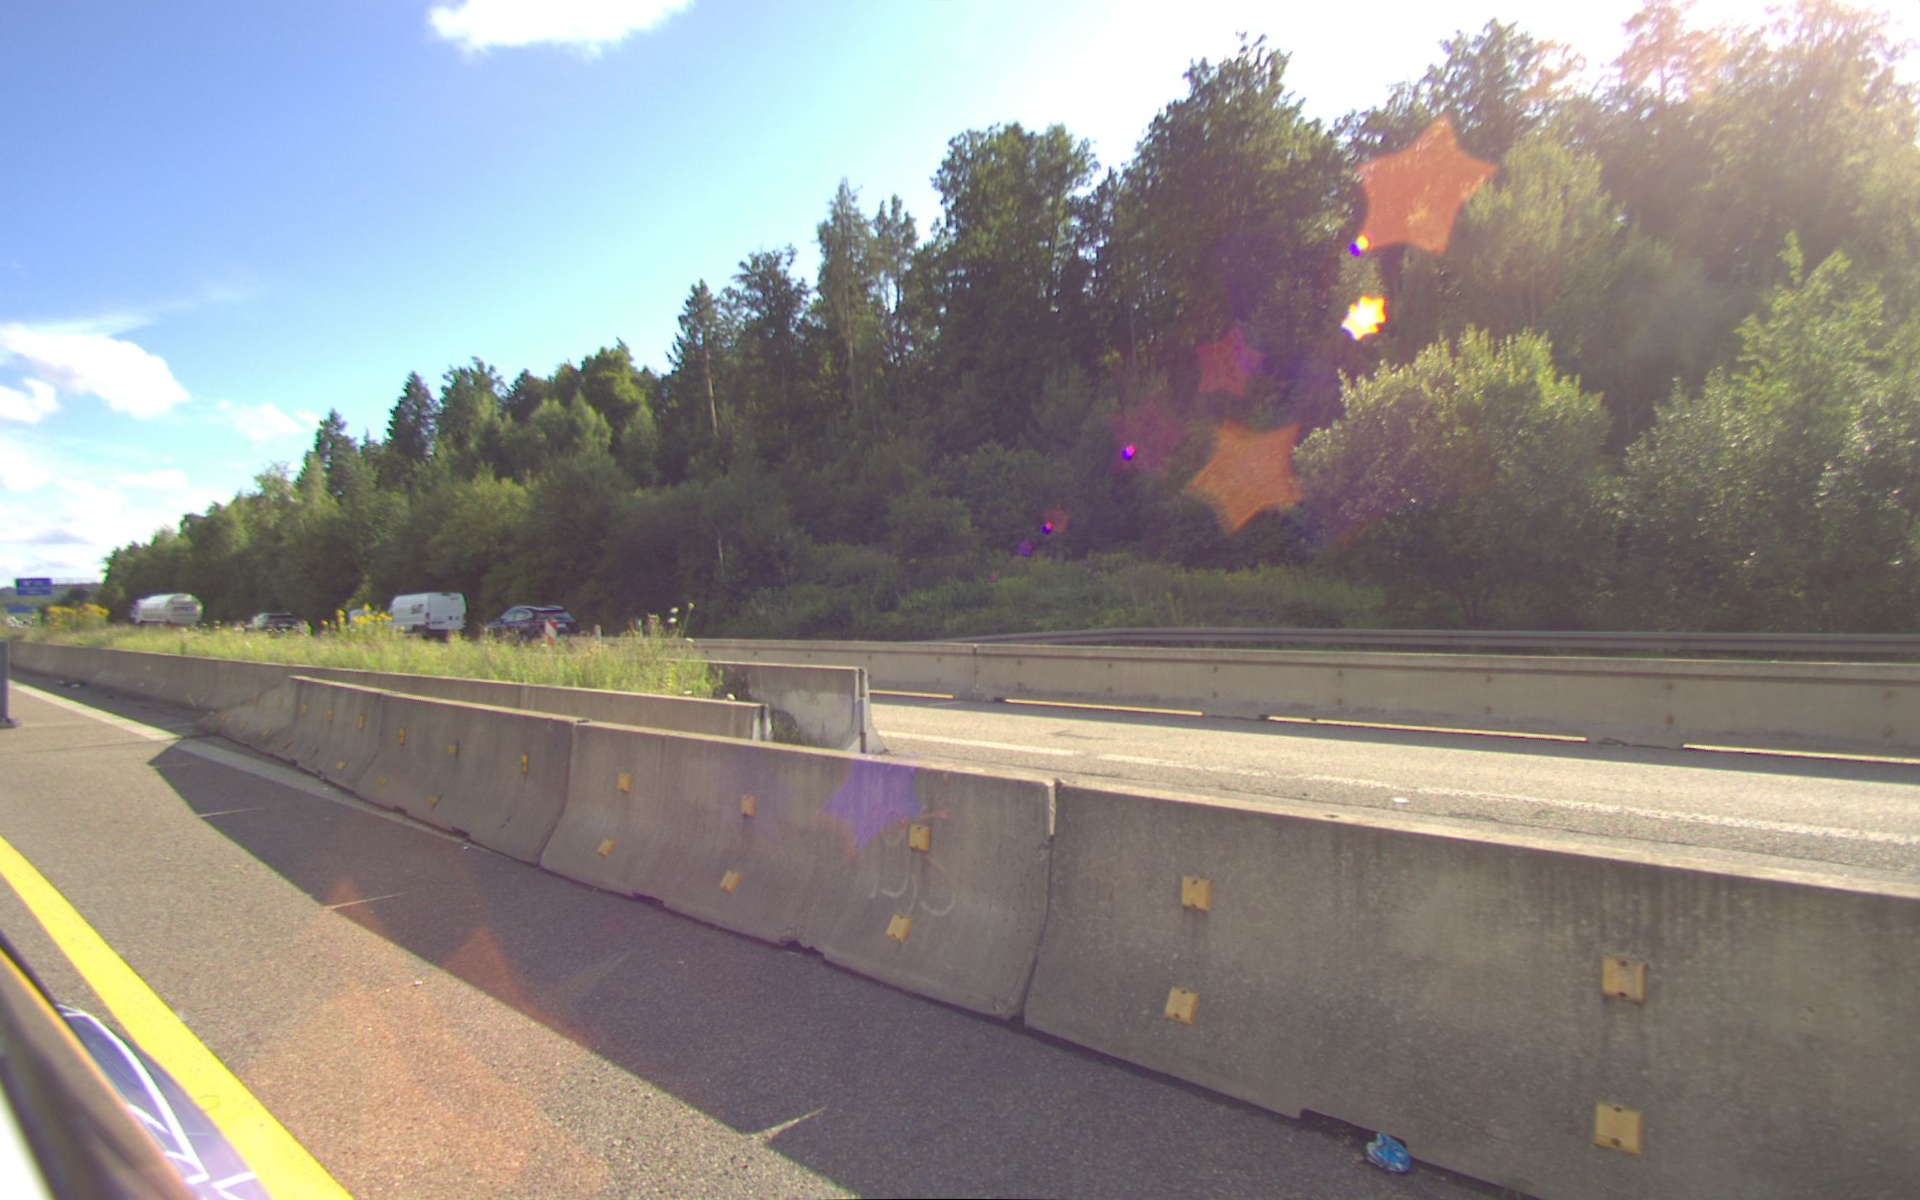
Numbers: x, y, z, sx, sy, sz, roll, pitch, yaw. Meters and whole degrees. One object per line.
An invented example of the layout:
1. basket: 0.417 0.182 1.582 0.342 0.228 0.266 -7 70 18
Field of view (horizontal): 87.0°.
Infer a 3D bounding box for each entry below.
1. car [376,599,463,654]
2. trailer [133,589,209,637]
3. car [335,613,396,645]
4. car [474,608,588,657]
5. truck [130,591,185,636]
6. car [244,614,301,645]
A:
1. car: -28.653 1.374 53.549 6.522 2.705 2.006 -1 0 43
2. trailer: -61.608 1.020 78.882 11.110 3.516 2.772 -1 0 42
3. car: -35.779 1.717 60.891 4.761 1.867 1.840 -1 0 43
4. car: -15.121 1.115 35.555 4.480 1.600 1.938 -1 0 41
5. truck: -65.350 1.068 82.347 4.939 3.516 2.755 -1 0 42
6. car: -38.061 1.630 55.980 4.017 1.614 1.759 -1 0 43
